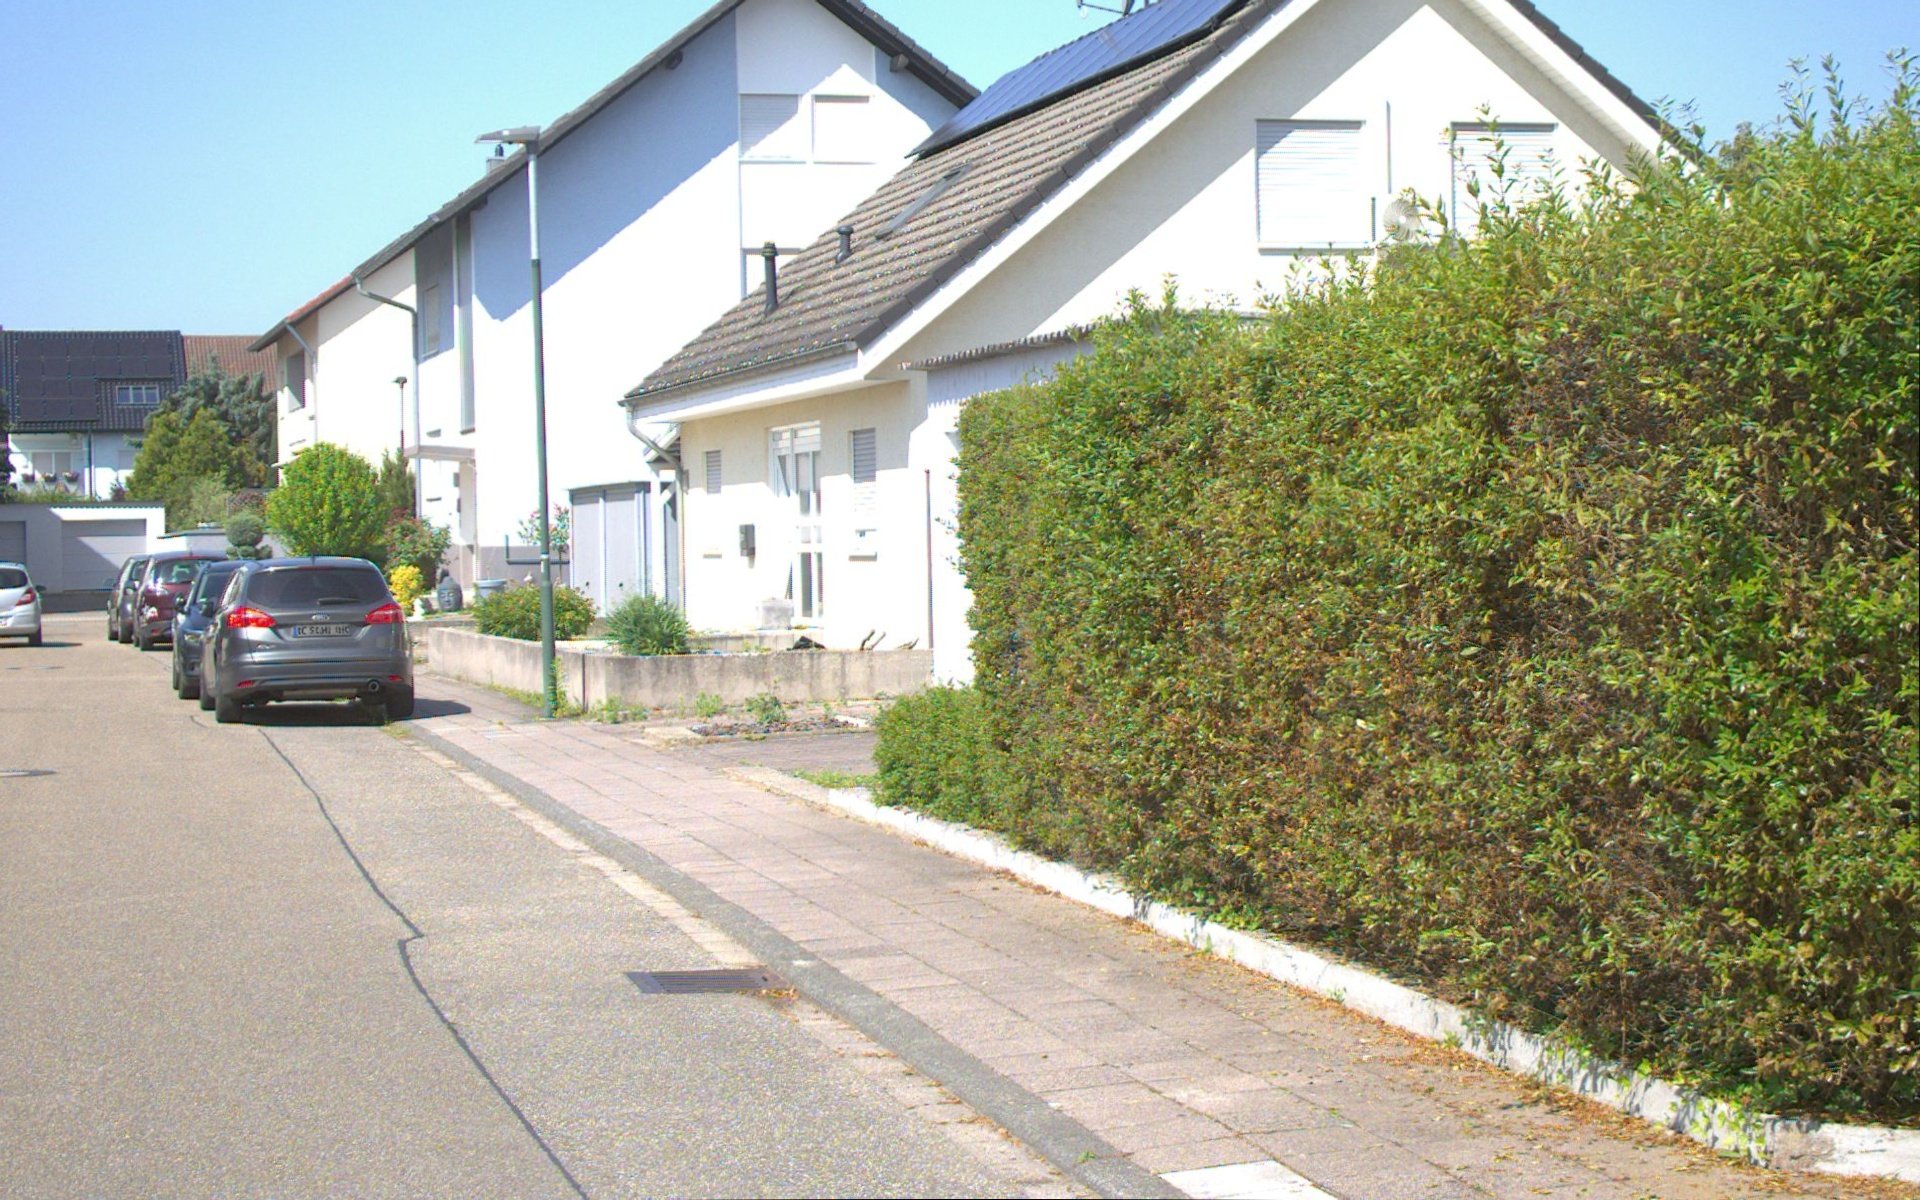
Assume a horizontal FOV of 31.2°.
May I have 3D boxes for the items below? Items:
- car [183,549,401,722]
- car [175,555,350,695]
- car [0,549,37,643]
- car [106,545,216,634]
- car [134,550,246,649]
[{"bbox_3d":[-6.330,0.293,32.296,1.641,1.473,4.001,1,1,-16],"label":"car"},{"bbox_3d":[-7.771,0.230,38.065,1.717,1.433,4.504,-1,1,-14],"label":"car"},{"bbox_3d":[-16.961,-0.081,59.975,1.644,1.576,3.810,-1,1,-15],"label":"car"},{"bbox_3d":[-14.576,-0.215,62.608,1.644,1.540,4.049,-1,1,-17],"label":"car"},{"bbox_3d":[-13.027,-0.043,58.031,1.644,1.576,4.149,-1,1,-15],"label":"car"}]
